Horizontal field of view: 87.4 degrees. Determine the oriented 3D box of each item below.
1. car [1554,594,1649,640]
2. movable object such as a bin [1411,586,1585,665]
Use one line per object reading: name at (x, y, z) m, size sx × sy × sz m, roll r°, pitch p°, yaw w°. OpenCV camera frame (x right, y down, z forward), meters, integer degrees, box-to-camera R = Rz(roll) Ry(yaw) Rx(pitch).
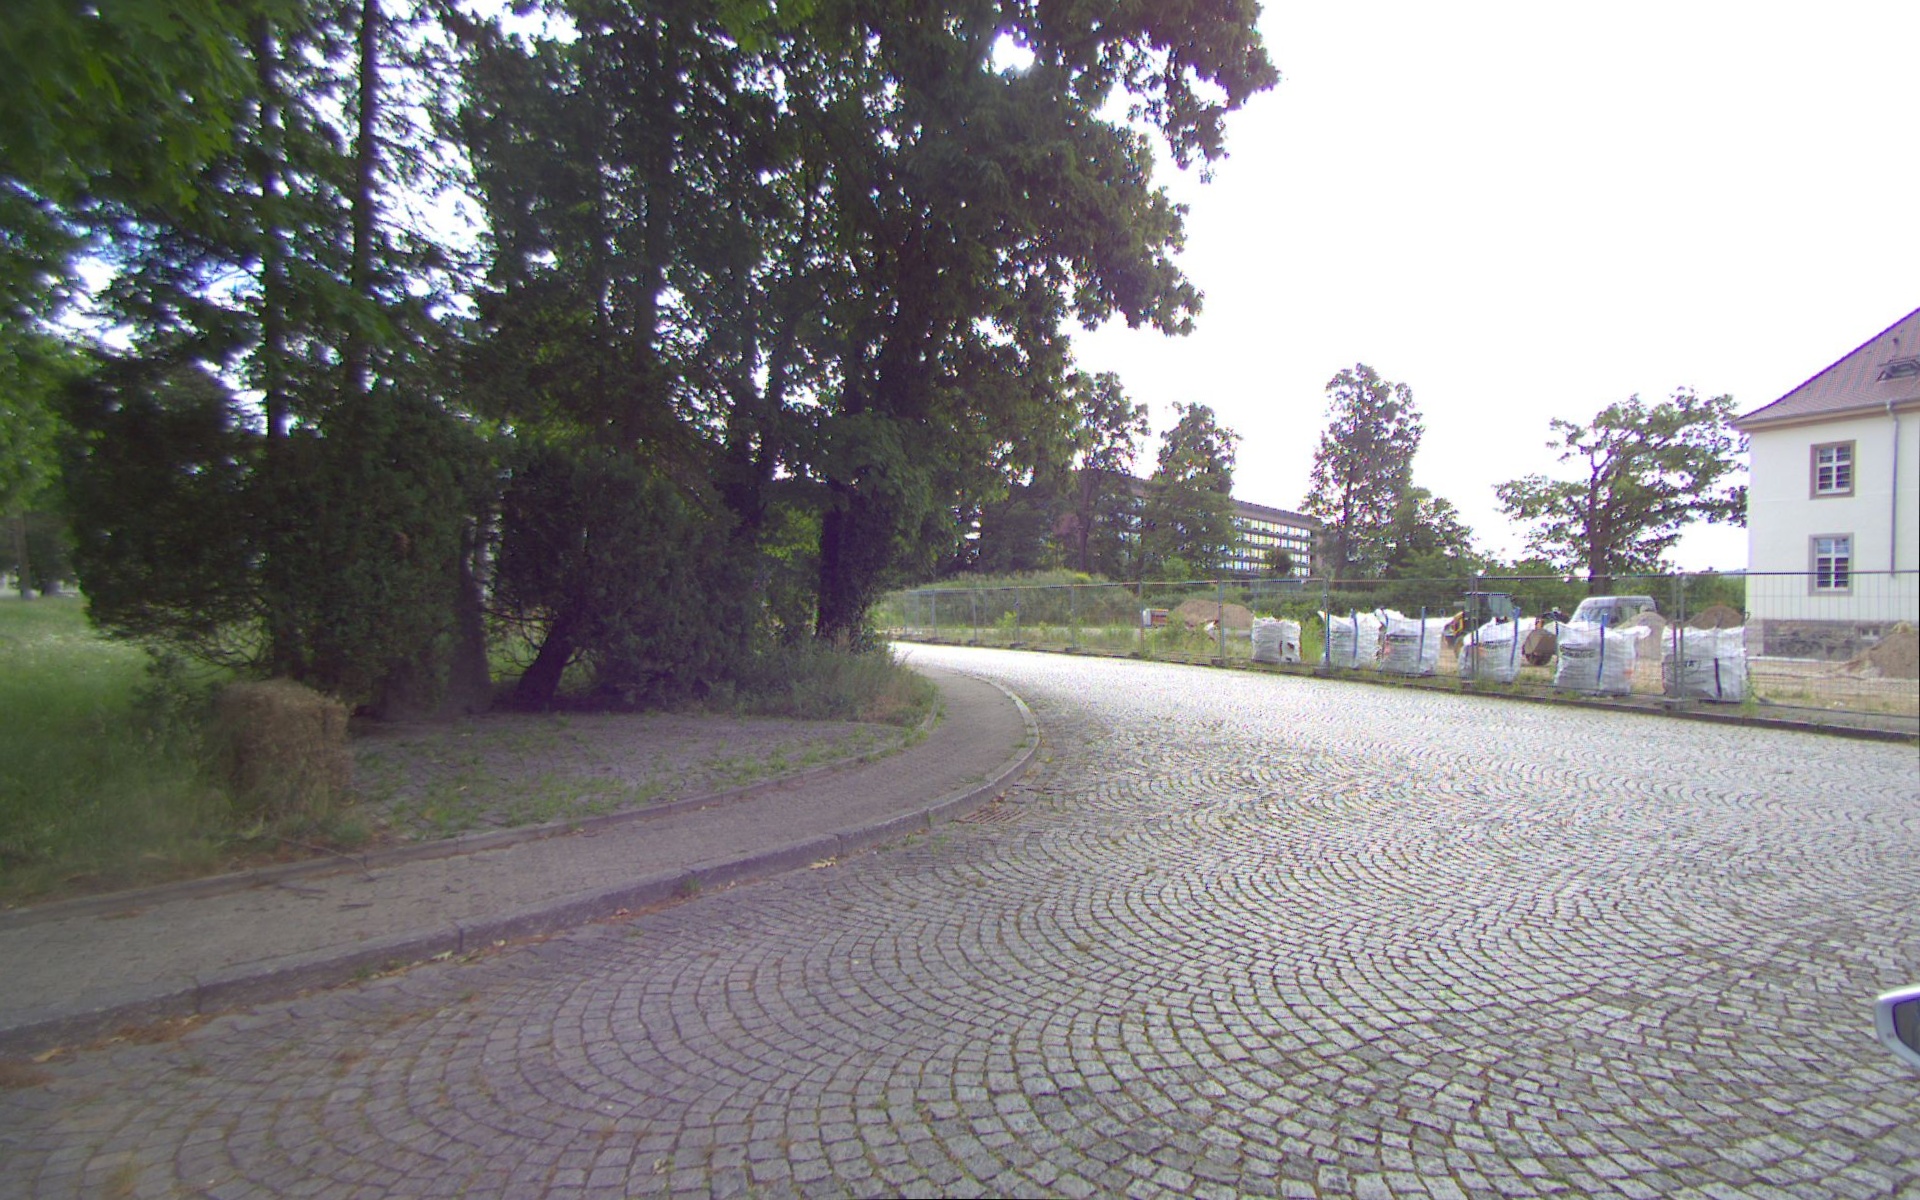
car at (31.197, 0.821, 48.829) m, size 4.845 × 2.179 × 2.056 m, roll 1°, pitch 0°, yaw -32°
movable object such as a bin at (19.066, 0.856, 35.905) m, size 1.974 × 2.590 × 5.310 m, roll 1°, pitch 0°, yaw -26°
